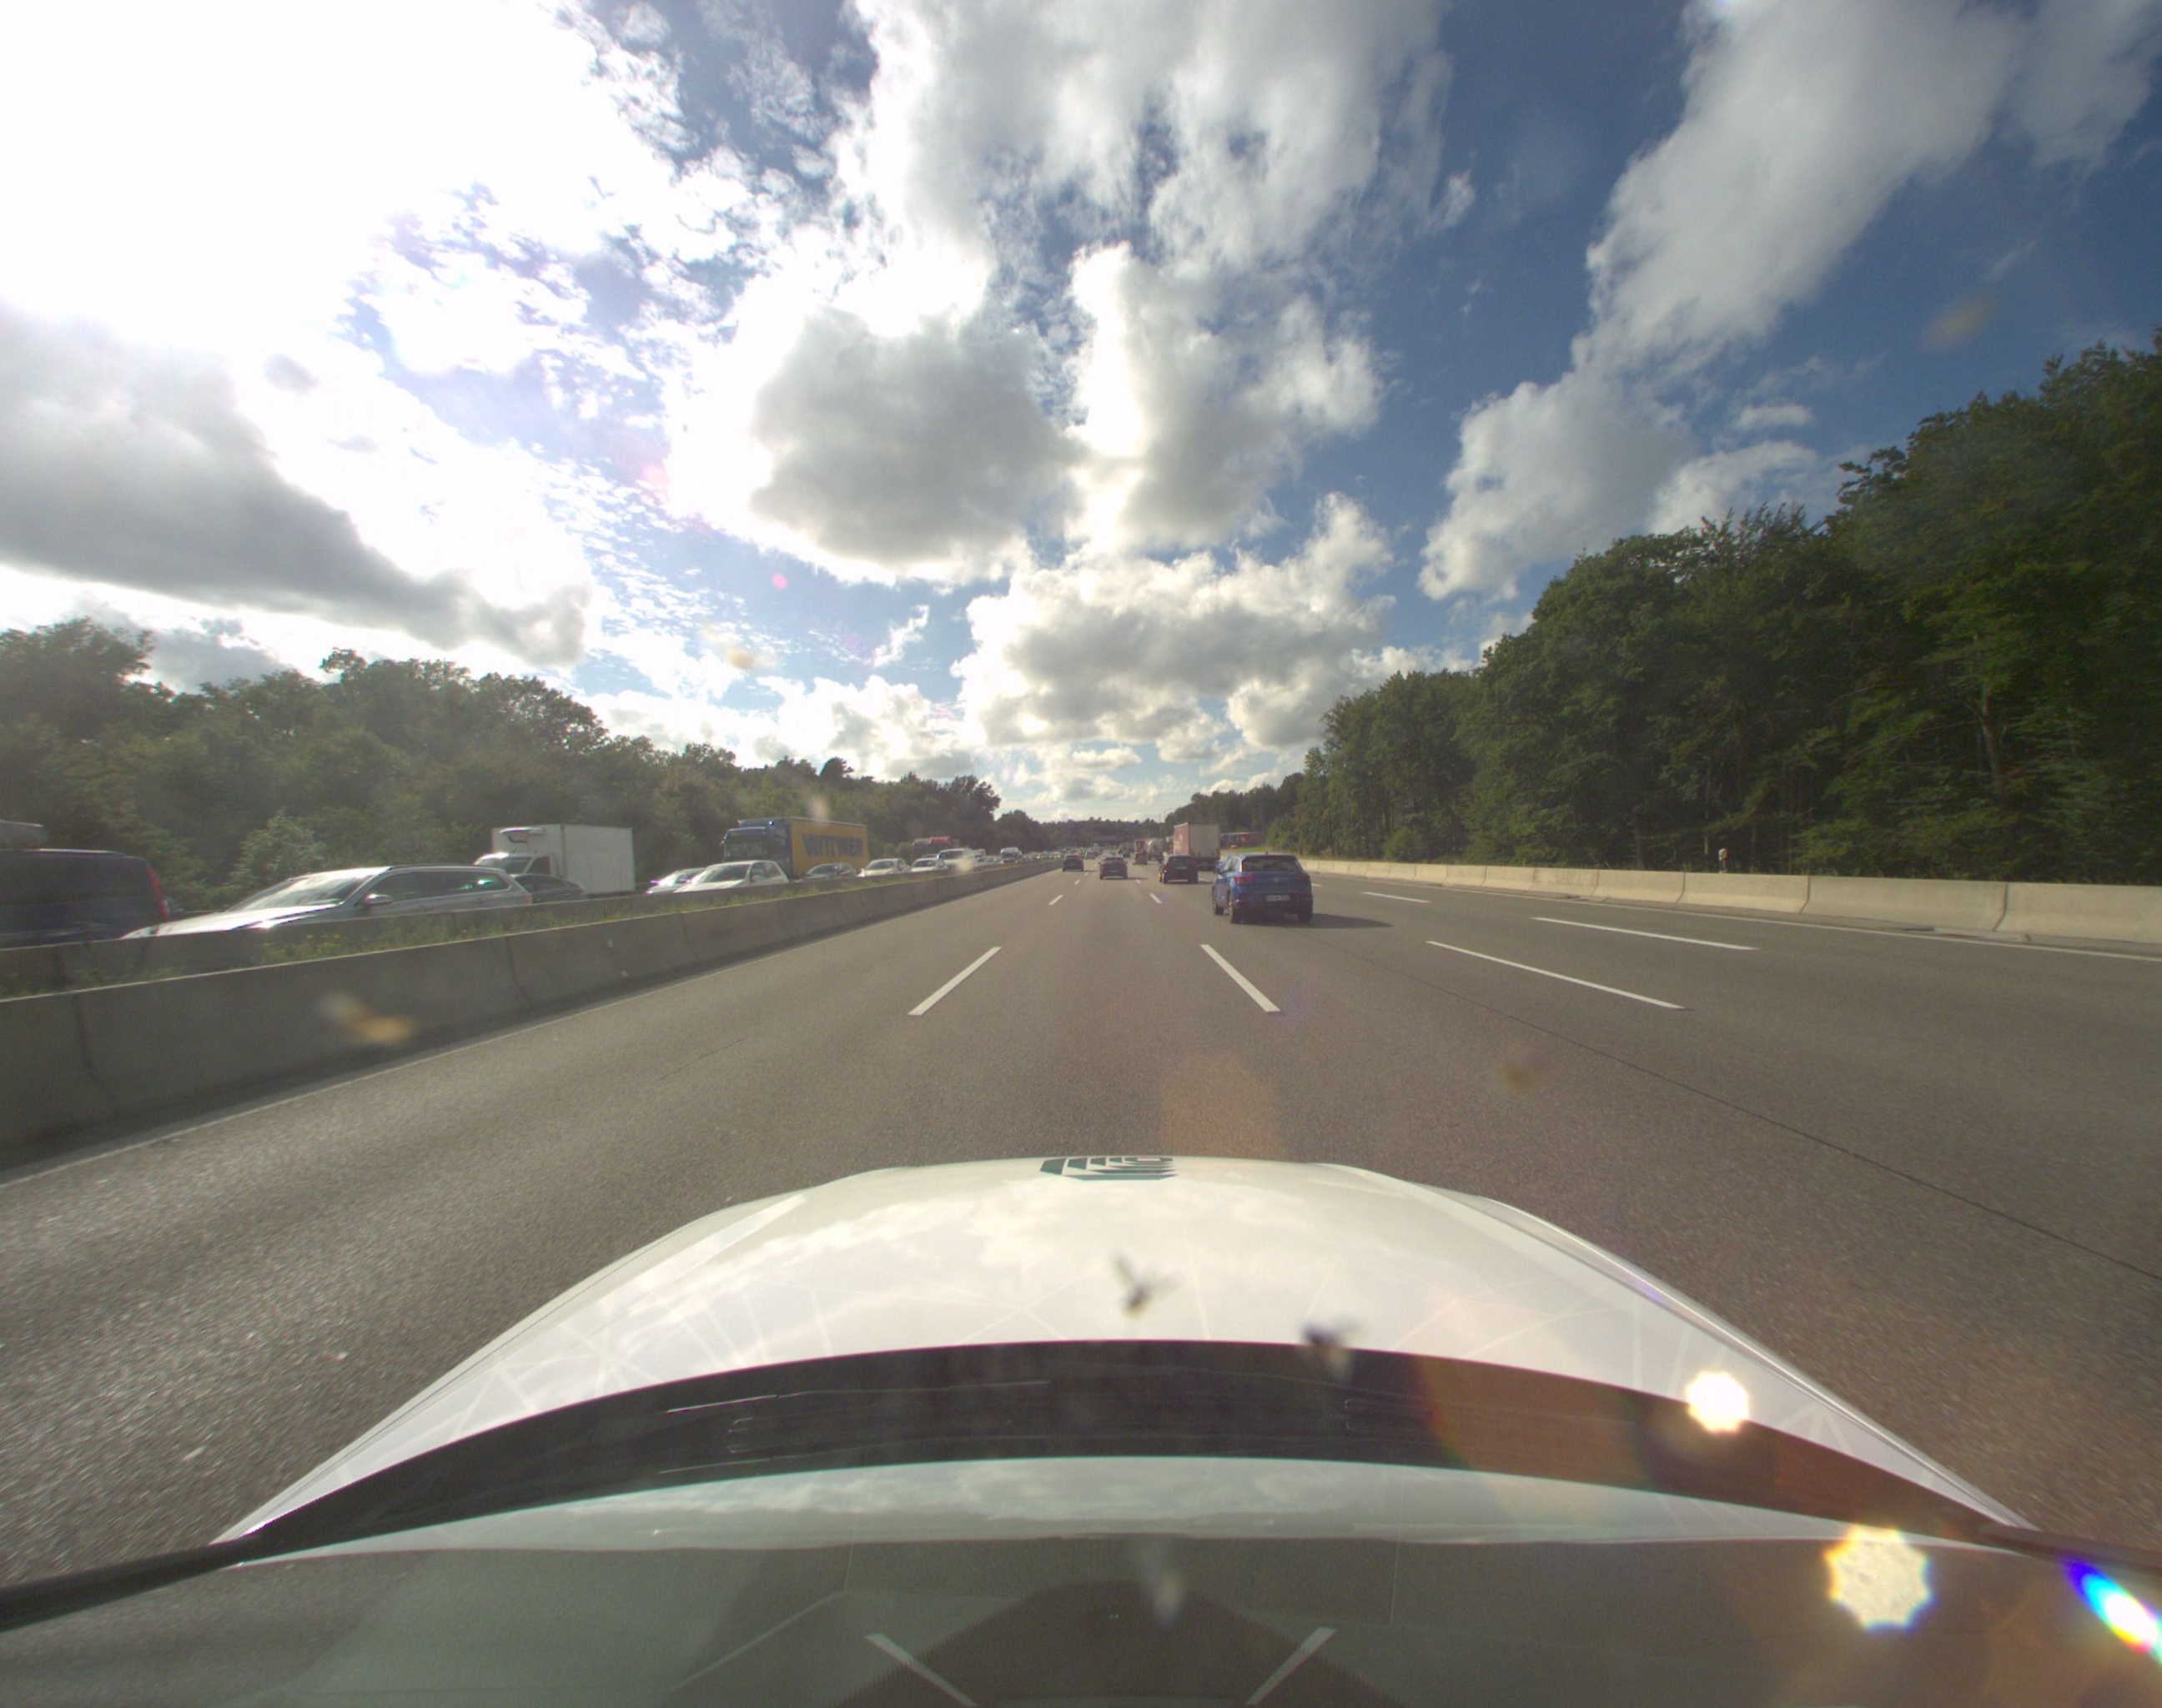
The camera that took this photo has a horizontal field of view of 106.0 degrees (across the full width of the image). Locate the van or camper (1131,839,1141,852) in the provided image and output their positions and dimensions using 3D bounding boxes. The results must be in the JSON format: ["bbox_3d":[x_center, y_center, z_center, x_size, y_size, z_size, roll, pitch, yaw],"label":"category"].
[{"bbox_3d":[13.923,-2.081,206.834,2.341,3.144,5.715,-1,-1,3],"label":"van or camper"}]

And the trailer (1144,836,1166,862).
[{"bbox_3d":[12.451,-0.725,137.899,3.025,4.016,12.248,-1,-1,2],"label":"trailer"}]

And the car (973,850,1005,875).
[{"bbox_3d":[-6.319,0.562,56.180,1.717,1.603,4.001,0,0,1],"label":"car"}]

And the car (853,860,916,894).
[{"bbox_3d":[-8.597,0.987,35.978,1.751,1.377,4.001,0,0,1],"label":"car"}]

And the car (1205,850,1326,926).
[{"bbox_3d":[4.198,0.785,19.269,1.917,1.541,4.646,-1,-2,2],"label":"car"}]

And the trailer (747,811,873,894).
[{"bbox_3d":[-15.810,0.069,49.079,2.761,4.235,13.661,-1,-1,1],"label":"trailer"}]

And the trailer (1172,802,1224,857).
[{"bbox_3d":[10.048,-1.912,71.584,3.027,4.035,13.895,-1,-1,2],"label":"trailer"}]

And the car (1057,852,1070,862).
[{"bbox_3d":[-3.257,0.555,152.378,1.986,1.735,5.093,0,0,2],"label":"car"}]

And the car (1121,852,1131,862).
[{"bbox_3d":[9.465,0.681,170.546,1.986,2.014,4.002,0,-1,2],"label":"car"}]

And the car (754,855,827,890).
[{"bbox_3d":[-12.567,0.799,35.491,1.727,1.401,3.836,-1,-1,1],"label":"car"}]

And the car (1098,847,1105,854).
[{"bbox_3d":[6.254,-1.030,247.430,1.986,2.013,4.002,0,0,2],"label":"car"}]

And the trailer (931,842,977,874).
[{"bbox_3d":[-14.271,0.329,92.931,2.718,3.335,14.223,-1,0,1],"label":"trailer"}]

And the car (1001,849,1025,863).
[{"bbox_3d":[-6.811,0.187,81.809,1.808,1.349,6.234,0,0,1],"label":"car"}]

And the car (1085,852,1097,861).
[{"bbox_3d":[2.017,0.437,161.610,2.146,1.776,4.002,0,-1,2],"label":"car"}]

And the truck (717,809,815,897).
[{"bbox_3d":[-15.956,0.002,41.656,2.726,4.149,5.617,-1,-1,1],"label":"truck"}]

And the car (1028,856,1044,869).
[{"bbox_3d":[-5.886,1.063,106.929,1.829,1.591,4.290,-1,0,1],"label":"car"}]

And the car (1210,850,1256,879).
[{"bbox_3d":[8.589,0.594,46.319,1.710,1.511,4.300,-2,-1,-1],"label":"car"}]

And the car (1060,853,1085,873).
[{"bbox_3d":[-0.764,0.781,74.743,1.986,1.776,4.002,-1,0,2],"label":"car"}]

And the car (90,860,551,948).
[{"bbox_3d":[-9.371,0.536,10.729,1.629,0.858,4.607,0,0,2],"label":"car"}]

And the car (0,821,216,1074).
[{"bbox_3d":[-13.637,1.087,9.113,1.986,2.963,5.405,0,0,2],"label":"car"}]

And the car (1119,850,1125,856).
[{"bbox_3d":[12.751,-0.369,253.342,1.986,2.013,4.002,0,0,2],"label":"car"}]

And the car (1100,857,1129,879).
[{"bbox_3d":[2.128,0.871,51.554,1.727,1.365,4.002,0,-1,2],"label":"car"}]

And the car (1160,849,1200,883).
[{"bbox_3d":[5.107,0.609,42.413,1.792,1.644,4.002,0,-1,2],"label":"car"}]

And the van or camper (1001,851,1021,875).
[{"bbox_3d":[-9.523,1.219,110.851,2.131,3.172,6.246,0,0,1],"label":"van or camper"}]

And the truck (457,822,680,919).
[{"bbox_3d":[-16.859,0.488,27.661,2.319,2.801,7.952,0,0,2],"label":"truck"}]

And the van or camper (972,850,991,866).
[{"bbox_3d":[-19.329,0.772,158.542,2.563,3.077,7.197,-1,0,1],"label":"van or camper"}]

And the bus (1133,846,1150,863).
[{"bbox_3d":[7.618,0.061,102.679,1.986,2.014,4.002,-1,-1,2],"label":"bus"}]

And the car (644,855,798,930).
[{"bbox_3d":[-9.216,0.904,21.301,1.986,1.743,4.297,0,0,2],"label":"car"}]

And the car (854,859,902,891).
[{"bbox_3d":[-11.890,1.230,47.955,1.681,1.816,4.296,-1,-1,1],"label":"car"}]

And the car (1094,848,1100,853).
[{"bbox_3d":[4.592,-1.067,232.499,1.617,1.470,3.817,0,0,3],"label":"car"}]

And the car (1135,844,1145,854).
[{"bbox_3d":[12.574,-0.988,172.989,1.986,2.014,4.001,-1,-1,2],"label":"car"}]

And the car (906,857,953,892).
[{"bbox_3d":[-8.158,1.107,44.201,1.681,1.816,4.296,-1,-1,1],"label":"car"}]

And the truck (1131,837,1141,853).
[{"bbox_3d":[13.563,-2.179,200.663,2.348,3.572,11.275,-1,-1,3],"label":"truck"}]

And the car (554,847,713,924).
[{"bbox_3d":[-12.870,0.891,23.839,1.986,2.014,4.657,-1,-1,1],"label":"car"}]

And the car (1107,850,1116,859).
[{"bbox_3d":[7.049,0.077,187.790,1.986,2.014,4.001,-2,-1,2],"label":"car"}]

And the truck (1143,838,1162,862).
[{"bbox_3d":[12.685,-0.708,144.724,3.034,4.160,7.130,-1,-1,2],"label":"truck"}]

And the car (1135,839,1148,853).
[{"bbox_3d":[13.524,-1.721,182.914,2.854,2.992,5.153,-1,-1,3],"label":"car"}]

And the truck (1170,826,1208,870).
[{"bbox_3d":[10.277,-0.503,78.100,3.068,4.064,6.072,-1,-1,2],"label":"truck"}]

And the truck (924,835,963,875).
[{"bbox_3d":[-14.419,0.092,85.846,2.766,3.938,6.854,-1,0,1],"label":"truck"}]

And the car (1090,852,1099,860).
[{"bbox_3d":[3.269,0.439,192.202,1.986,2.013,4.002,0,0,2],"label":"car"}]

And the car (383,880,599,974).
[{"bbox_3d":[-13.135,1.536,18.524,1.681,1.816,4.296,-1,-1,1],"label":"car"}]

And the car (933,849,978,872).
[{"bbox_3d":[-7.798,0.468,51.151,1.843,1.354,5.489,-1,-1,1],"label":"car"}]
